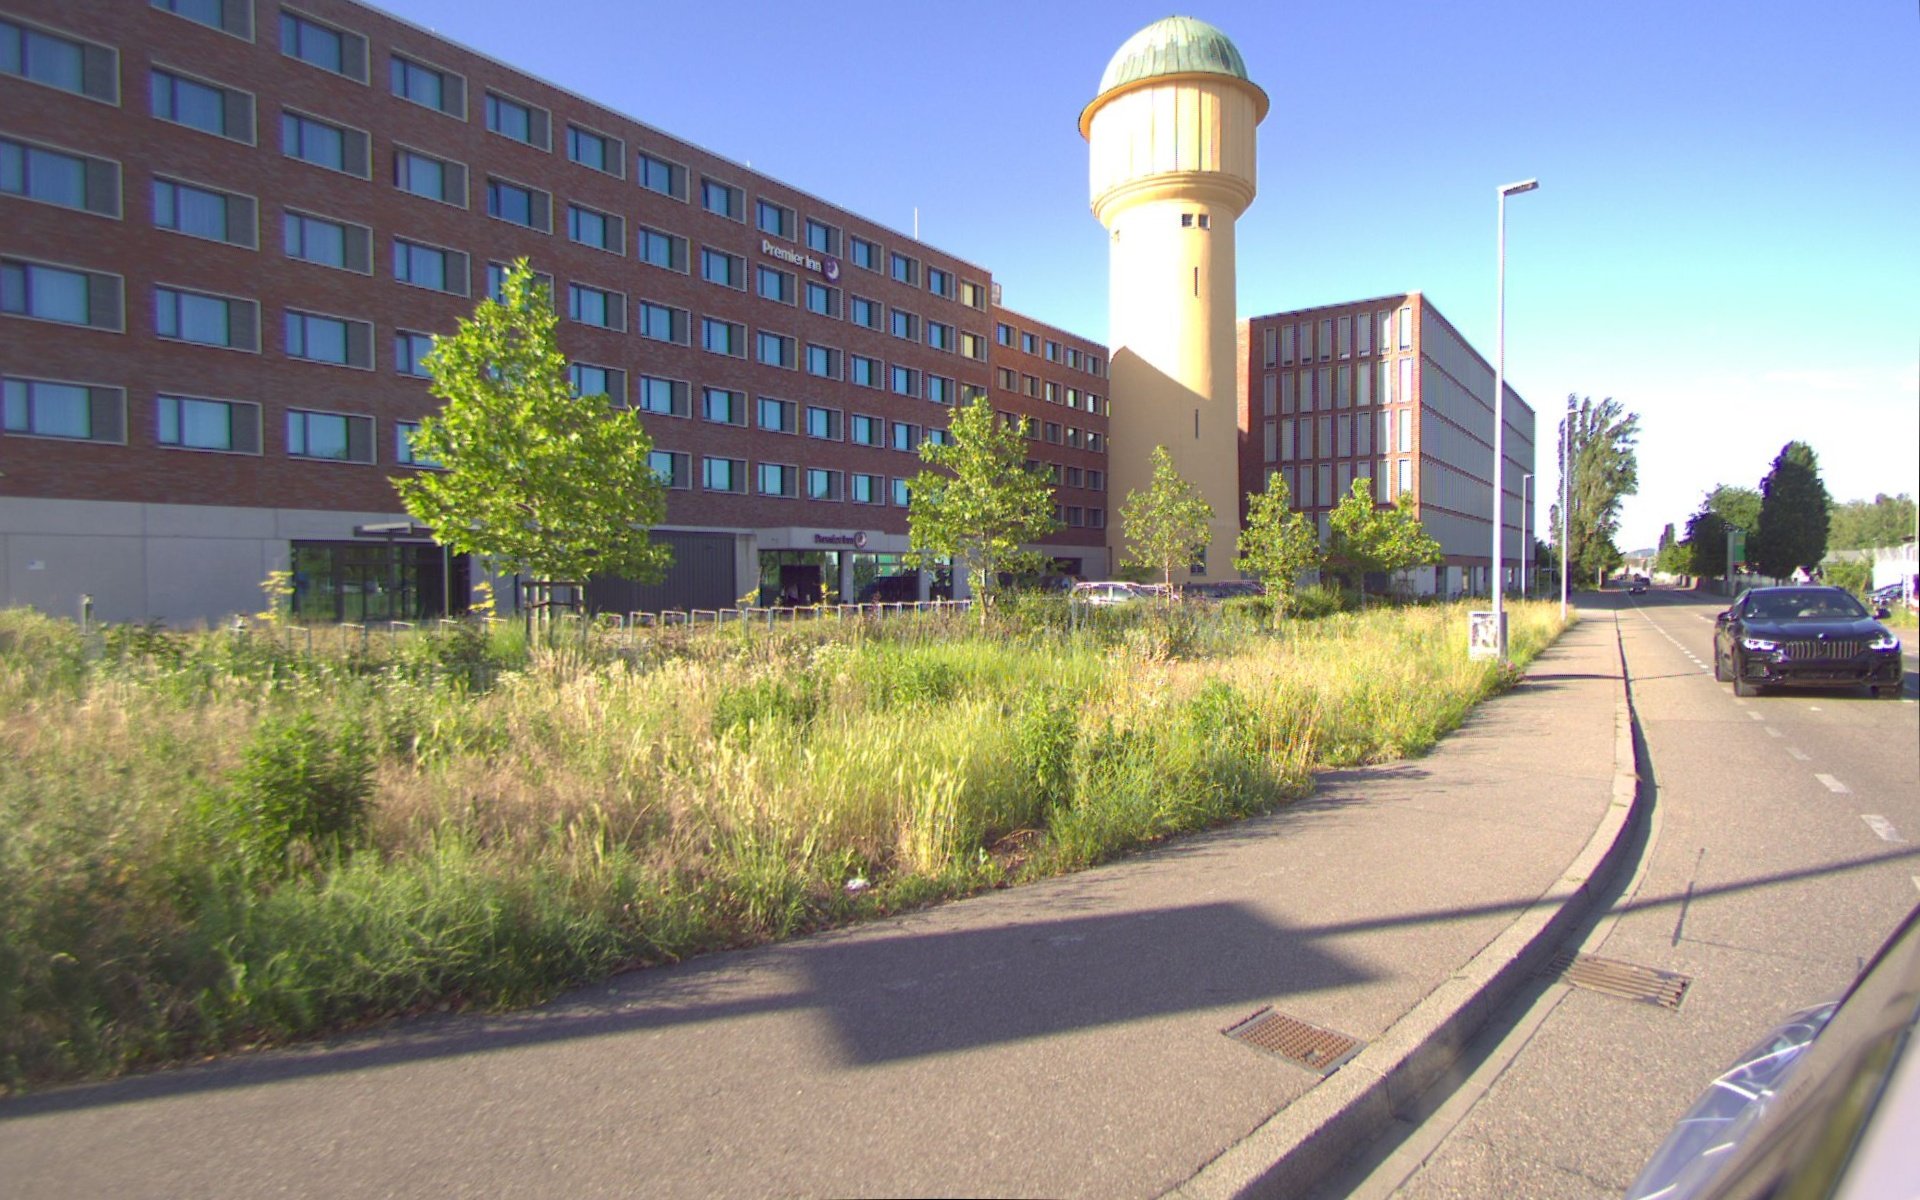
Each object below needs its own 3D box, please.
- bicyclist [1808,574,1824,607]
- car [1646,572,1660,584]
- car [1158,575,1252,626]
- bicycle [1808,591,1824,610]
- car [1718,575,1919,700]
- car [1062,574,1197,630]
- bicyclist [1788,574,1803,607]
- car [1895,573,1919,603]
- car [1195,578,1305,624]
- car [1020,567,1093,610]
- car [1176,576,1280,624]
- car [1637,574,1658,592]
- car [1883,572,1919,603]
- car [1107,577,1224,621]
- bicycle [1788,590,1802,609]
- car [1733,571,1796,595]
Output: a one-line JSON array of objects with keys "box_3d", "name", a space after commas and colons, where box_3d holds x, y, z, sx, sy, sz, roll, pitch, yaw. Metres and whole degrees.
[{"box_3d": [48.603, -0.547, 57.450, 0.565, 1.895, 0.843, -1, 0, 34], "name": "bicyclist"}, {"box_3d": [122.208, -3.918, 178.471, 1.986, 2.039, 3.952, 0, 1, 34], "name": "car"}, {"box_3d": [10.354, 0.001, 42.772, 3.462, 2.047, 1.813, 0, 1, 36], "name": "car"}, {"box_3d": [48.622, 0.009, 57.491, 0.554, 1.078, 1.703, -1, 0, 35], "name": "bicycle"}, {"box_3d": [13.821, 0.494, 16.512, 2.034, 1.736, 4.694, -1, 0, 34], "name": "car"}, {"box_3d": [5.924, 0.058, 35.557, 4.305, 1.851, 1.975, 0, 1, 36], "name": "car"}, {"box_3d": [48.977, -0.574, 59.326, 0.565, 1.895, 0.843, -1, 0, 34], "name": "bicyclist"}, {"box_3d": [57.524, -0.753, 58.623, 4.622, 1.763, 1.781, -1, 0, 33], "name": "car"}, {"box_3d": [13.410, 0.030, 46.938, 4.506, 2.039, 1.974, 0, 1, 37], "name": "car"}, {"box_3d": [5.402, -0.642, 56.216, 1.857, 2.292, 4.876, 0, 1, 35], "name": "car"}, {"box_3d": [11.720, -0.032, 44.372, 3.979, 2.005, 1.972, 0, 1, 39], "name": "car"}, {"box_3d": [80.315, -2.030, 118.238, 1.986, 2.039, 3.952, 0, 1, 34], "name": "car"}, {"box_3d": [58.982, -0.758, 60.923, 4.782, 1.823, 1.975, 0, 0, 35], "name": "car"}, {"box_3d": [7.705, -0.042, 38.116, 3.979, 1.569, 1.809, 0, 1, 39], "name": "car"}, {"box_3d": [48.988, -0.037, 59.355, 0.500, 1.138, 1.546, -1, 0, 35], "name": "bicycle"}, {"box_3d": [95.952, -1.983, 120.763, 5.735, 2.736, 1.975, 0, 0, 35], "name": "car"}]
